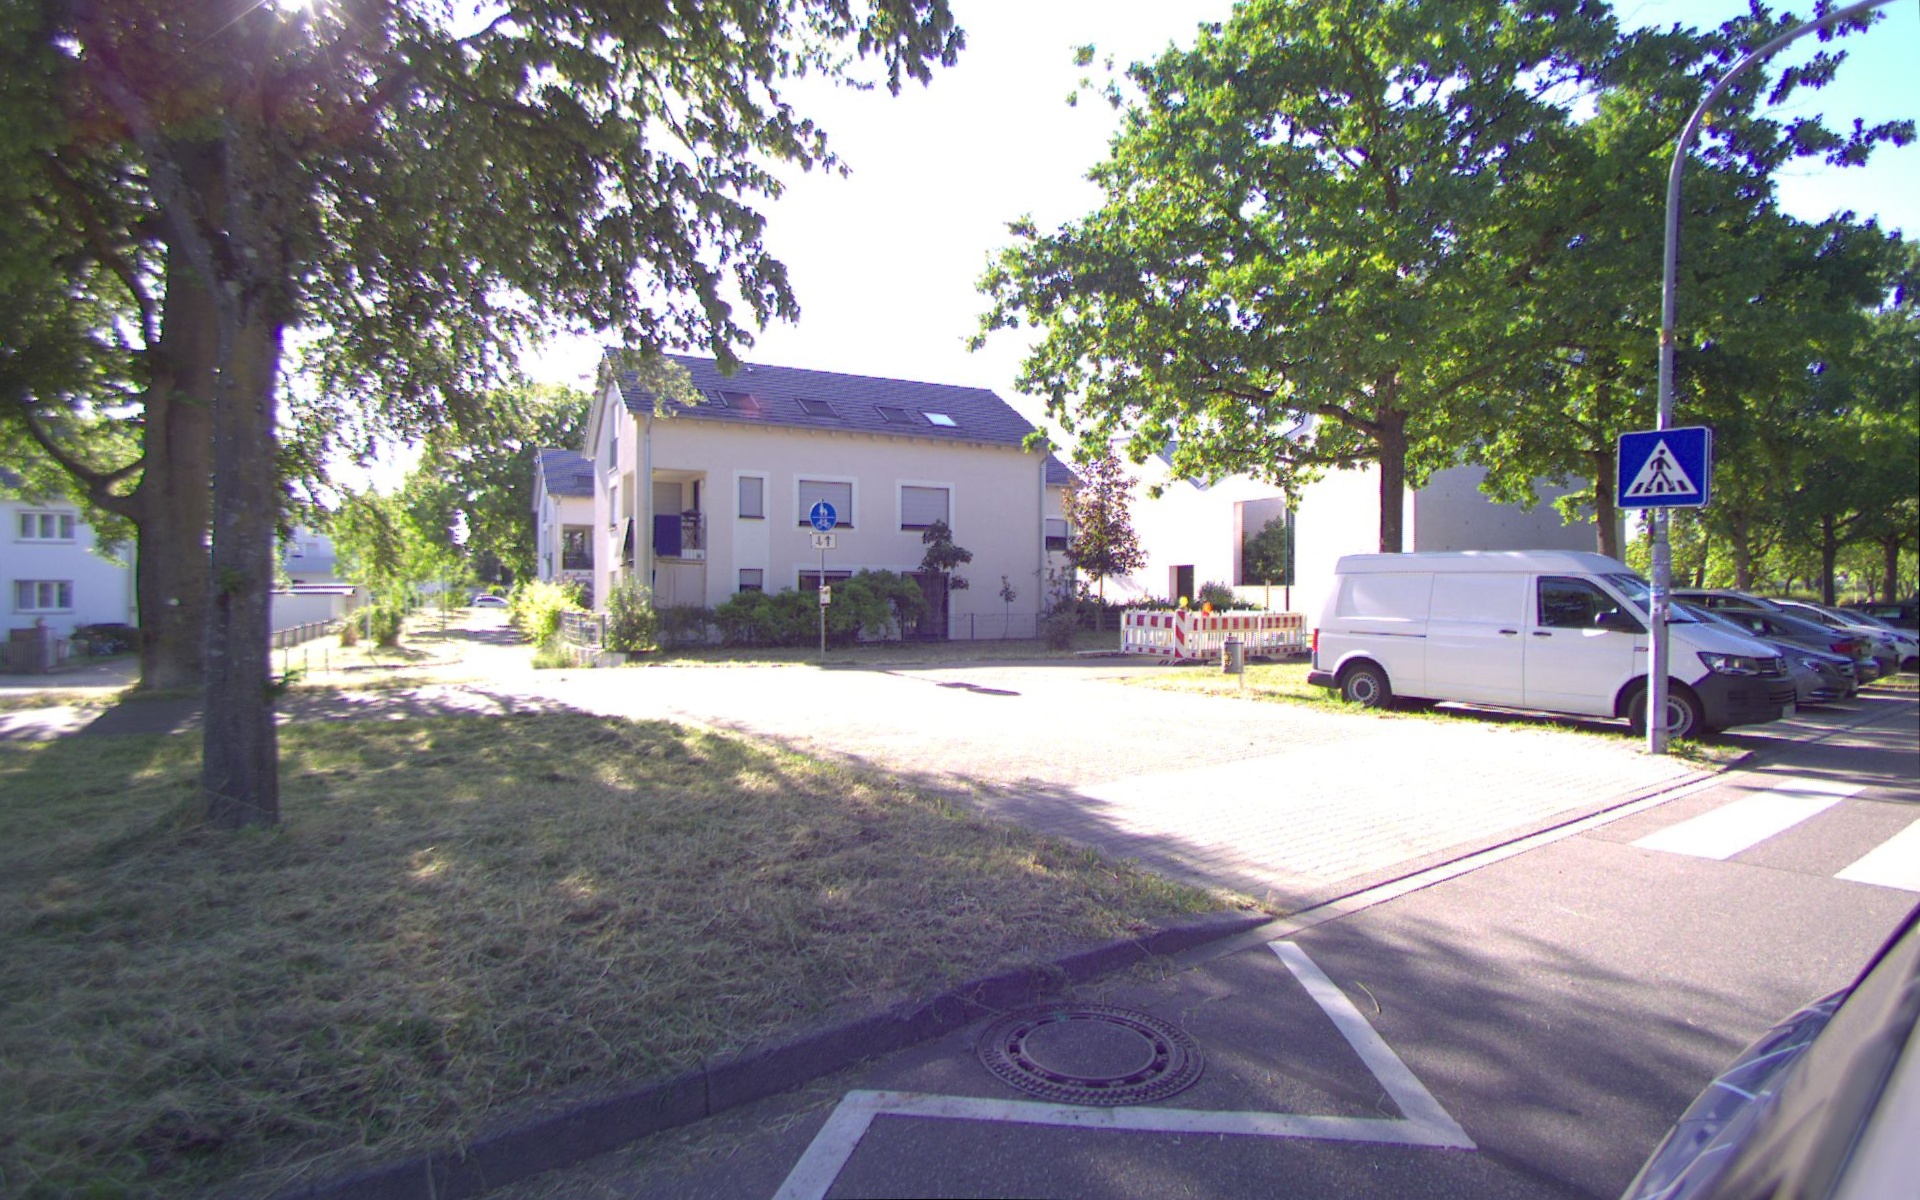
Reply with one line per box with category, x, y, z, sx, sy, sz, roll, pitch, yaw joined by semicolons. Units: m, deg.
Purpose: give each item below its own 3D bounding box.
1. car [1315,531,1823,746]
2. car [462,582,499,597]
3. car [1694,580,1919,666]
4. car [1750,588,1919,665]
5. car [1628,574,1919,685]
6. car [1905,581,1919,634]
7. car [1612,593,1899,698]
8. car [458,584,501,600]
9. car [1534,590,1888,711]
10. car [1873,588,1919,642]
car;7.144;0.334;12.463;1.856;2.107;5.046;0;1;-38
car;-66.668;-1.485;140.741;4.524;2.039;2.004;0;0;-23
car;18.367;0.458;21.683;1.504;1.700;4.021;0;0;-36
car;20.864;0.577;23.261;1.504;1.681;4.021;0;0;-36
car;14.960;0.492;18.718;1.680;1.816;4.021;0;0;-36
car;37.979;0.270;37.311;1.504;2.014;4.397;0;-1;-36
car;13.167;0.684;16.941;1.421;1.561;3.518;0;0;-36
car;-61.633;-1.052;129.866;4.541;2.039;1.996;0;0;-42
car;11.222;0.670;15.389;1.724;1.583;3.999;0;0;-36
car;32.431;0.483;32.505;1.504;1.765;4.397;0;0;-36
